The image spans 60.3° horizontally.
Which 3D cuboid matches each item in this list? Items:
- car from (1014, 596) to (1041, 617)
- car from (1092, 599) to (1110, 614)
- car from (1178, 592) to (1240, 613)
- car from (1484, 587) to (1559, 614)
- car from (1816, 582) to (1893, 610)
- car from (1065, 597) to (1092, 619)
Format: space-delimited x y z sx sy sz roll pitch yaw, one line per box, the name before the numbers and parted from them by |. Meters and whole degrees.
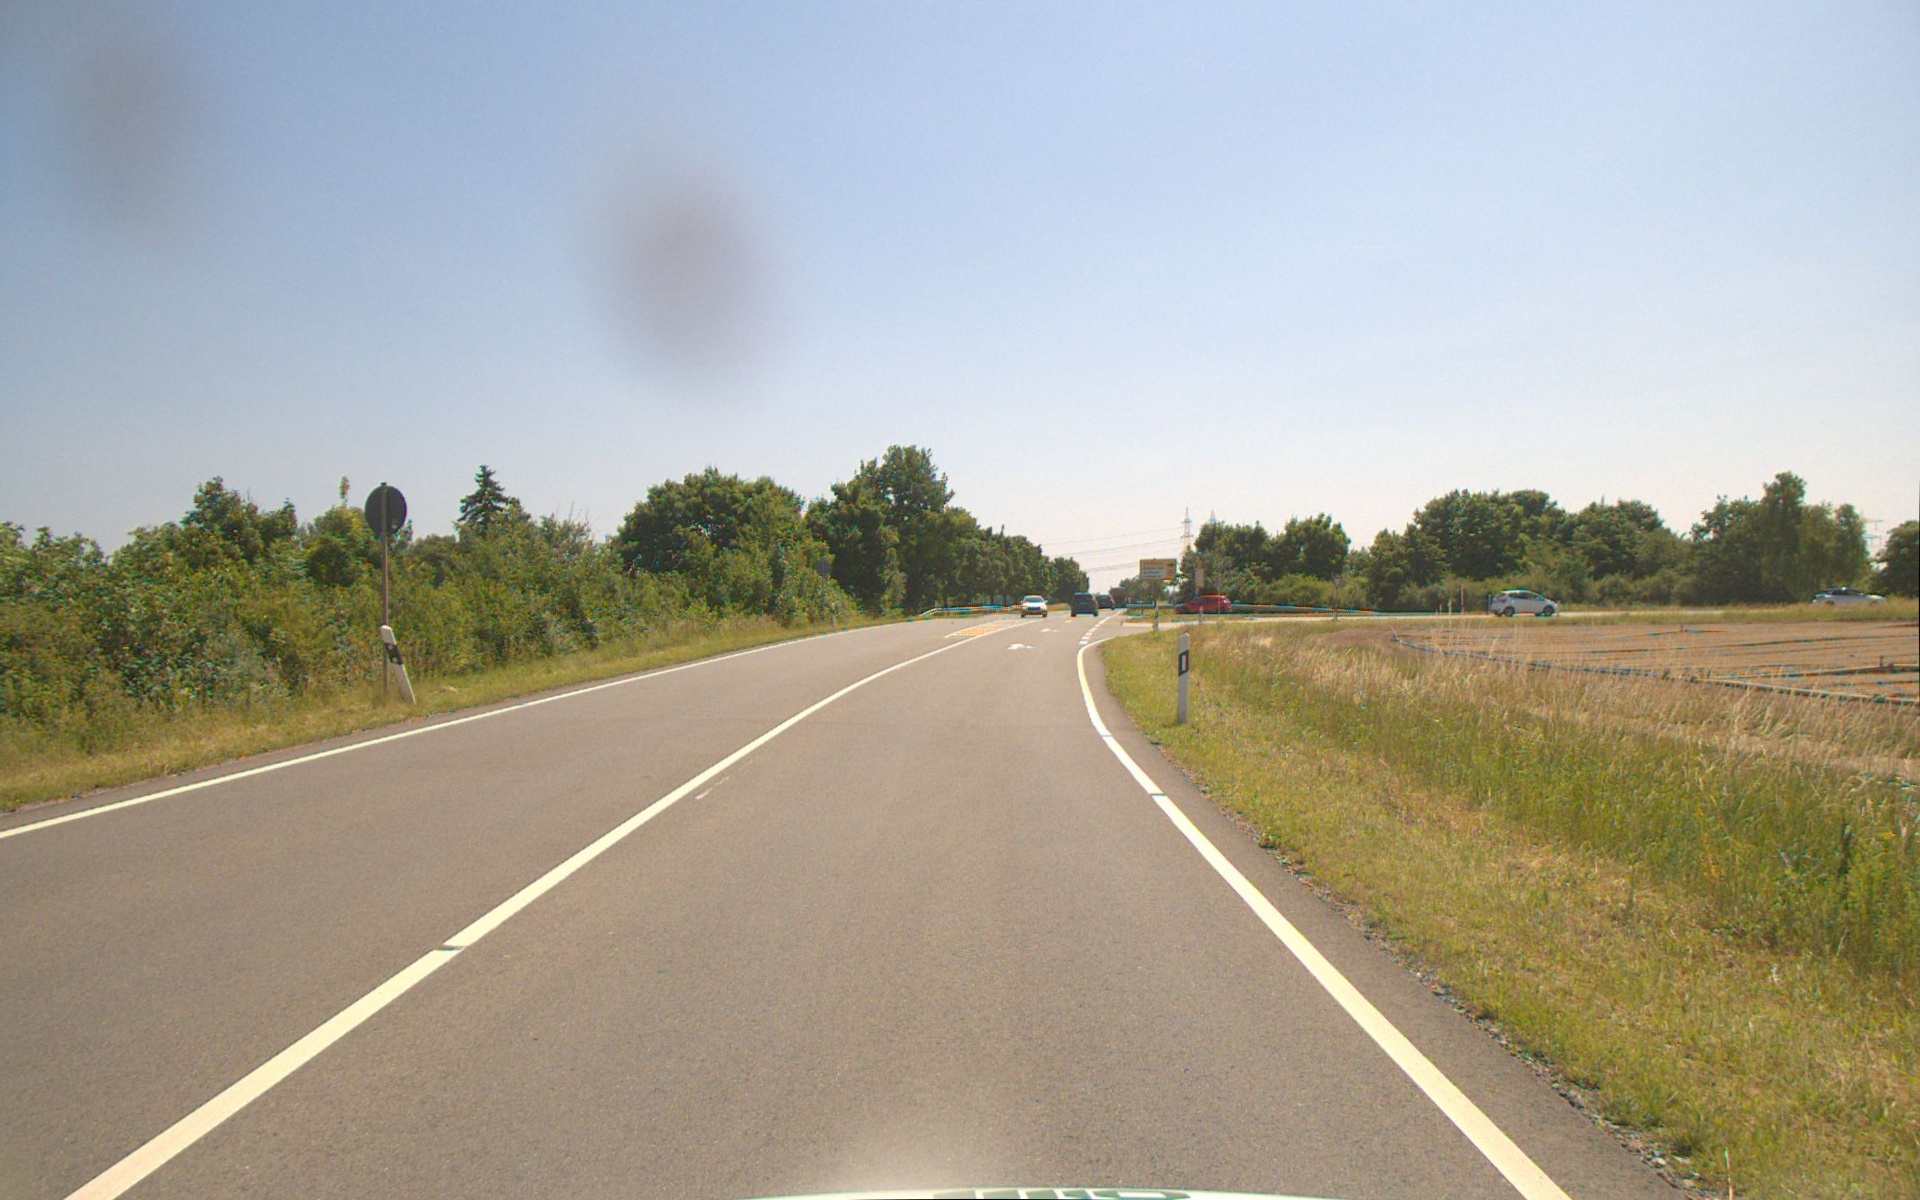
car | 4.742 0.449 115.928 1.797 1.443 4.717 1 0 3
car | 13.191 0.645 154.548 1.609 1.364 4.042 1 0 5
car | 17.490 0.186 116.322 4.066 1.443 1.780 0 -1 20
car | 35.683 0.050 105.226 4.045 1.652 2.070 -1 0 -1
car | 55.043 -0.256 101.792 3.903 1.652 1.645 -1 0 18
car | 8.511 0.576 118.482 1.845 1.544 4.042 1 0 5
